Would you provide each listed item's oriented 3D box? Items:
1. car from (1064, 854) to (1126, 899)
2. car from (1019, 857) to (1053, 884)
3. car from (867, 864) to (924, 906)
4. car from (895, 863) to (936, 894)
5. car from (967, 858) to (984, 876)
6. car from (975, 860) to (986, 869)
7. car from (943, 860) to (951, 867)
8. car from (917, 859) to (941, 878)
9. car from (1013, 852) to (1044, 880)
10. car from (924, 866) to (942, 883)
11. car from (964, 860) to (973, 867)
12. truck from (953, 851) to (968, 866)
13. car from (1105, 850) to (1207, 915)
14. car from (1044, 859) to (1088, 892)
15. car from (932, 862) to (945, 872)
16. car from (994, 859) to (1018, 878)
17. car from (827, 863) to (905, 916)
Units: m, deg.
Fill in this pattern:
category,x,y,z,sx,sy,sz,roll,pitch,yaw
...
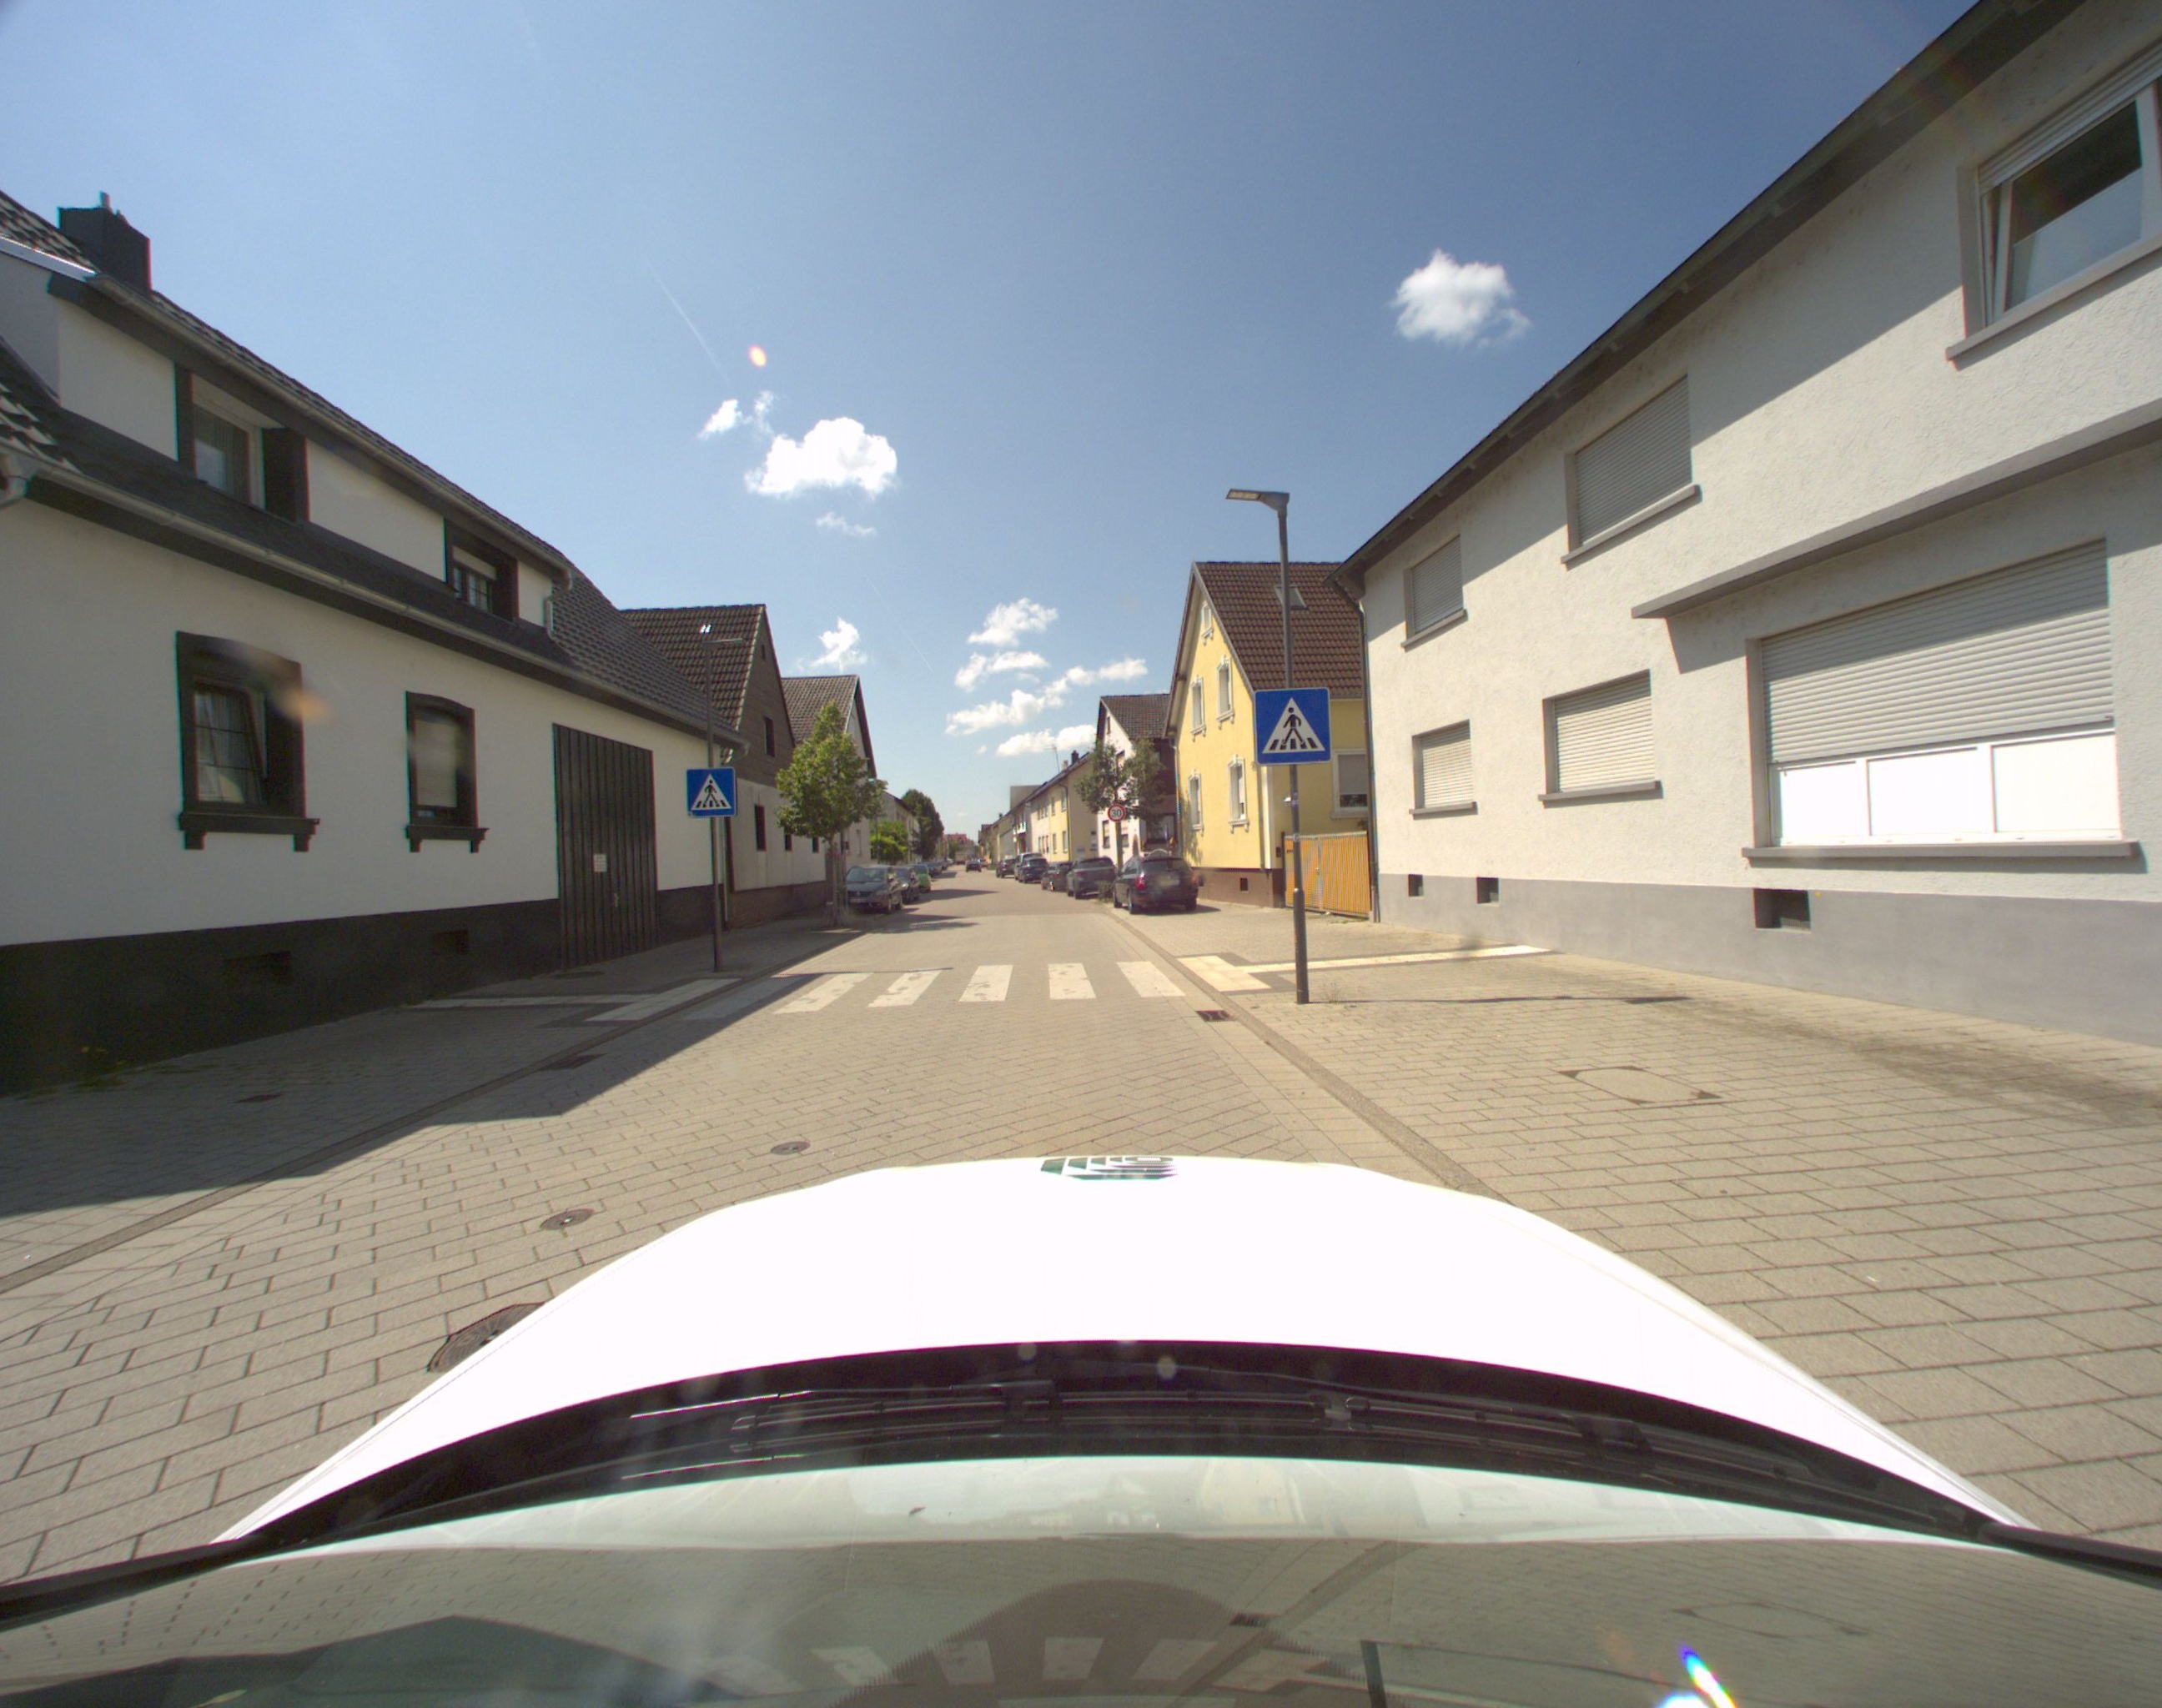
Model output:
category,x,y,z,sx,sy,sz,roll,pitch,yaw
car,0.483,0.817,31.767,1.845,1.562,3.684,-3,0,-7
car,-2.995,1.023,53.002,1.876,1.591,3.990,-3,0,-7
car,-7.560,1.203,33.441,1.748,1.532,4.250,-1,0,-6
car,-8.835,1.288,43.665,1.791,1.475,3.860,-3,0,-7
car,-13.093,1.634,101.190,1.992,2.057,4.362,-3,0,-8
car,-16.412,1.723,133.031,1.686,1.452,3.783,-3,0,-7
car,-34.493,2.390,210.324,1.846,1.707,3.709,-3,0,-8
car,-14.645,1.393,78.518,1.992,1.662,3.989,-3,0,-8
car,-3.819,0.830,58.487,1.905,1.871,3.990,-3,0,-7
car,-16.609,2.240,91.586,1.682,1.758,3.606,-3,0,-8
car,-24.795,2.000,179.358,1.688,1.452,3.780,-3,0,-9
truck,-32.208,1.173,216.976,3.565,3.953,8.552,-3,0,-10
car,1.917,0.721,22.275,1.827,1.471,4.265,-5,0,-7
car,-0.787,1.005,39.402,1.709,1.387,3.696,-3,0,-7
car,-23.339,2.069,133.766,1.916,1.442,3.989,-3,0,-8
car,-6.218,1.171,67.345,1.753,1.493,3.990,-3,0,-7
car,-7.080,1.124,27.196,1.744,1.530,3.994,-1,0,-4
